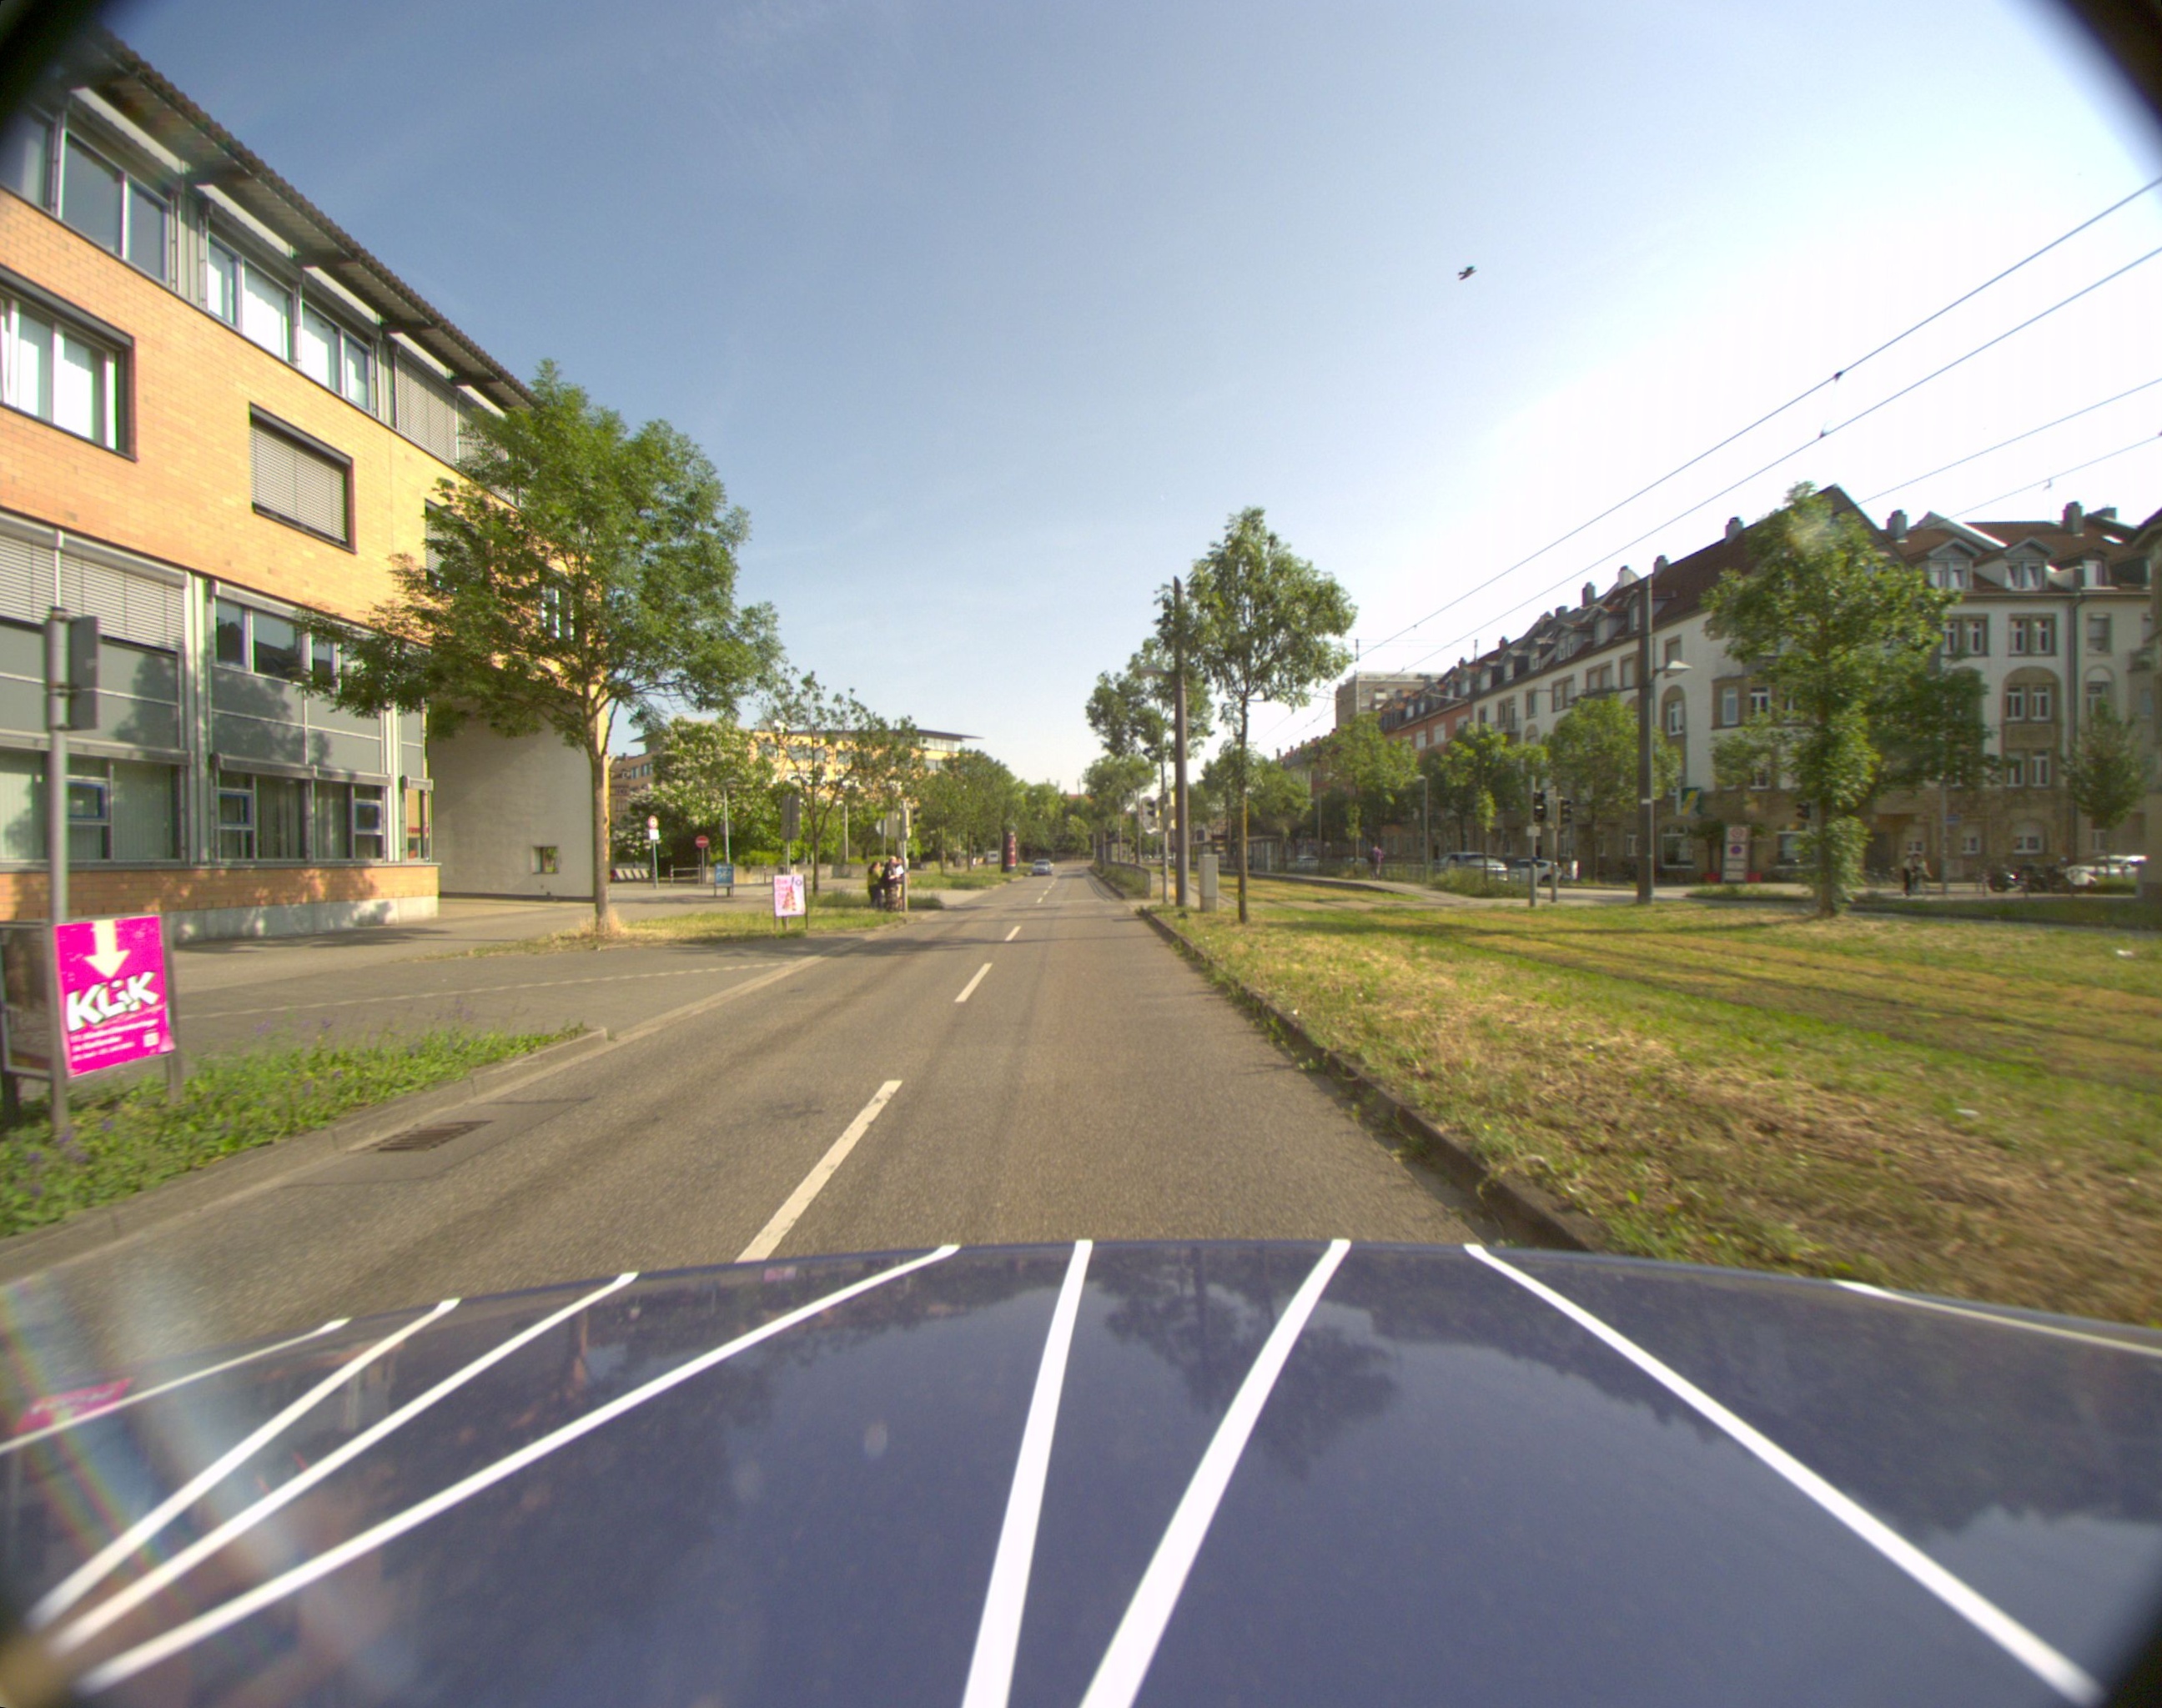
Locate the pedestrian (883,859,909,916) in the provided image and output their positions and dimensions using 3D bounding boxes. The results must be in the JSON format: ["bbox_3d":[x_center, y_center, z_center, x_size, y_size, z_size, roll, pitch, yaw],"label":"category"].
[{"bbox_3d":[-5.436,0.974,22.372,0.636,1.637,0.608,1,1,-4],"label":"pedestrian"}]

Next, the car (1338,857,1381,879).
[{"bbox_3d":[20.464,0.999,56.040,1.672,1.505,3.999,0,1,0],"label":"car"}]

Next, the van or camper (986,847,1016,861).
[{"bbox_3d":[-15.863,-0.019,150.679,5.801,2.678,2.407,-2,1,-4],"label":"van or camper"}]

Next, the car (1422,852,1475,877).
[{"bbox_3d":[26.966,0.750,55.837,1.907,1.610,3.999,-3,1,0],"label":"car"}]

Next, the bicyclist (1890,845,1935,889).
[{"bbox_3d":[30.475,0.487,27.872,0.847,1.550,0.904,-2,1,30],"label":"bicyclist"}]

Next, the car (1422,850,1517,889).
[{"bbox_3d":[17.014,0.626,33.577,1.839,1.524,4.576,-1,1,0],"label":"car"}]

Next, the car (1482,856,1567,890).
[{"bbox_3d":[24.961,1.074,42.782,3.989,1.716,2.003,-2,1,34],"label":"car"}]

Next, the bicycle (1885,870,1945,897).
[{"bbox_3d":[30.576,1.068,27.886,0.856,0.860,2.022,-2,1,28],"label":"bicycle"}]

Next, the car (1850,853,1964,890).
[{"bbox_3d":[40.744,0.839,37.545,3.824,1.574,1.604,-3,1,1],"label":"car"}]

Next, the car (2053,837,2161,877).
[{"bbox_3d":[50.672,0.130,37.146,3.997,1.684,1.728,-3,1,1],"label":"car"}]

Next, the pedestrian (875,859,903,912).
[{"bbox_3d":[-6.051,0.986,23.993,0.707,1.637,0.689,1,1,-2],"label":"pedestrian"}]

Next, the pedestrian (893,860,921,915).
[{"bbox_3d":[-5.327,1.011,23.248,0.707,1.637,0.689,1,1,-2],"label":"pedestrian"}]

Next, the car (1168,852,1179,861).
[{"bbox_3d":[21.393,0.583,175.656,1.699,1.787,4.005,-3,1,19],"label":"car"}]

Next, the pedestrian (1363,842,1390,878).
[{"bbox_3d":[13.661,0.285,35.120,0.886,1.645,0.852,0,1,-6],"label":"pedestrian"}]

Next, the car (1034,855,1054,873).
[{"bbox_3d":[-3.258,0.886,67.364,1.629,1.476,3.365,-3,1,-2],"label":"car"}]

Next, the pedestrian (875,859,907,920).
[{"bbox_3d":[-5.274,0.980,21.092,0.707,1.637,0.689,1,1,-2],"label":"pedestrian"}]

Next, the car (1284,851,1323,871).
[{"bbox_3d":[17.592,0.536,60.345,1.776,1.432,4.423,1,1,0],"label":"car"}]

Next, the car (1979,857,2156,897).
[{"bbox_3d":[38.322,0.837,29.701,1.672,1.404,3.999,0,1,0],"label":"car"}]

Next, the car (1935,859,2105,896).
[{"bbox_3d":[36.468,0.866,29.692,1.672,1.291,3.999,0,1,0],"label":"car"}]
